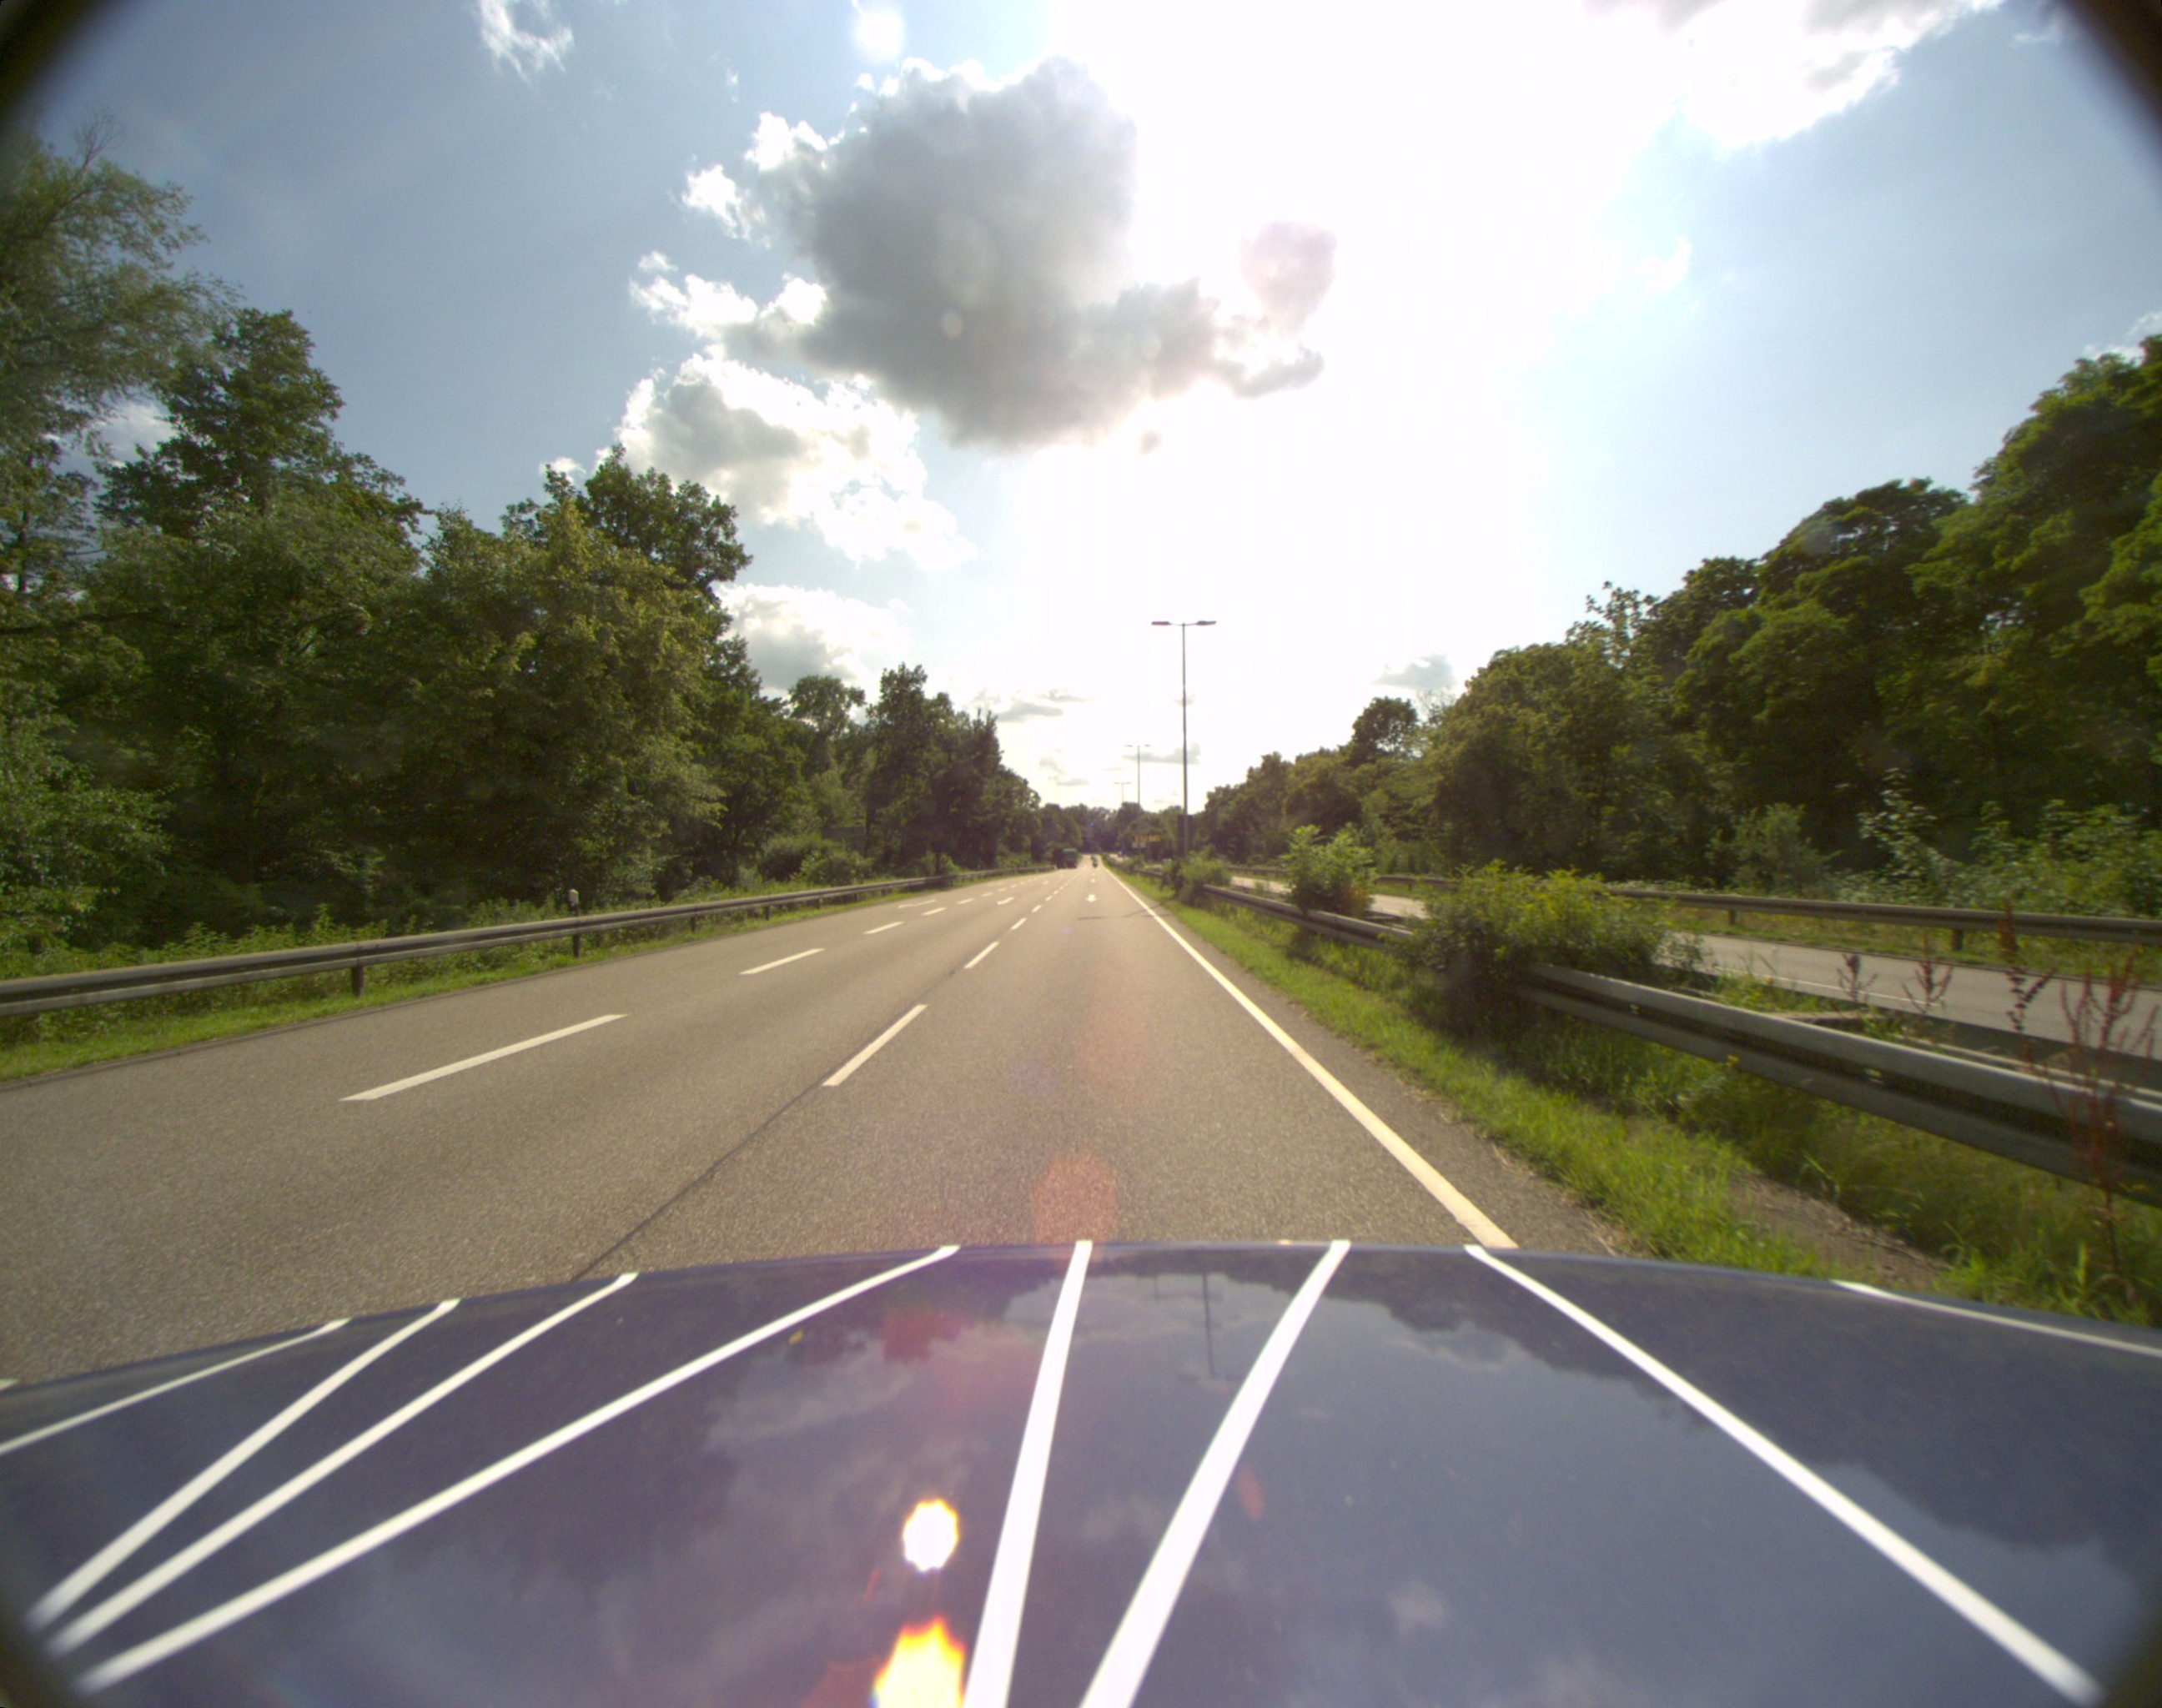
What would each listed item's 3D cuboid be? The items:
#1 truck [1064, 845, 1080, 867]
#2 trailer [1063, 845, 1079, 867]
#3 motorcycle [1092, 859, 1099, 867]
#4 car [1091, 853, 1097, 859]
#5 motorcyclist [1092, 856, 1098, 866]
[{"bbox_3d":[-1.693,0.372,137.897,2.592,3.870,6.061,-2,-1,-2],"label":"truck"},{"bbox_3d":[-1.950,0.477,144.554,2.592,3.870,14.500,-2,-1,-2],"label":"trailer"},{"bbox_3d":[2.432,1.573,128.478,0.939,1.375,2.370,0,-1,-3],"label":"motorcycle"},{"bbox_3d":[3.980,0.614,224.801,1.735,1.467,4.048,0,-1,2],"label":"car"},{"bbox_3d":[2.433,1.213,128.424,0.939,1.581,1.083,0,0,-3],"label":"motorcyclist"}]
